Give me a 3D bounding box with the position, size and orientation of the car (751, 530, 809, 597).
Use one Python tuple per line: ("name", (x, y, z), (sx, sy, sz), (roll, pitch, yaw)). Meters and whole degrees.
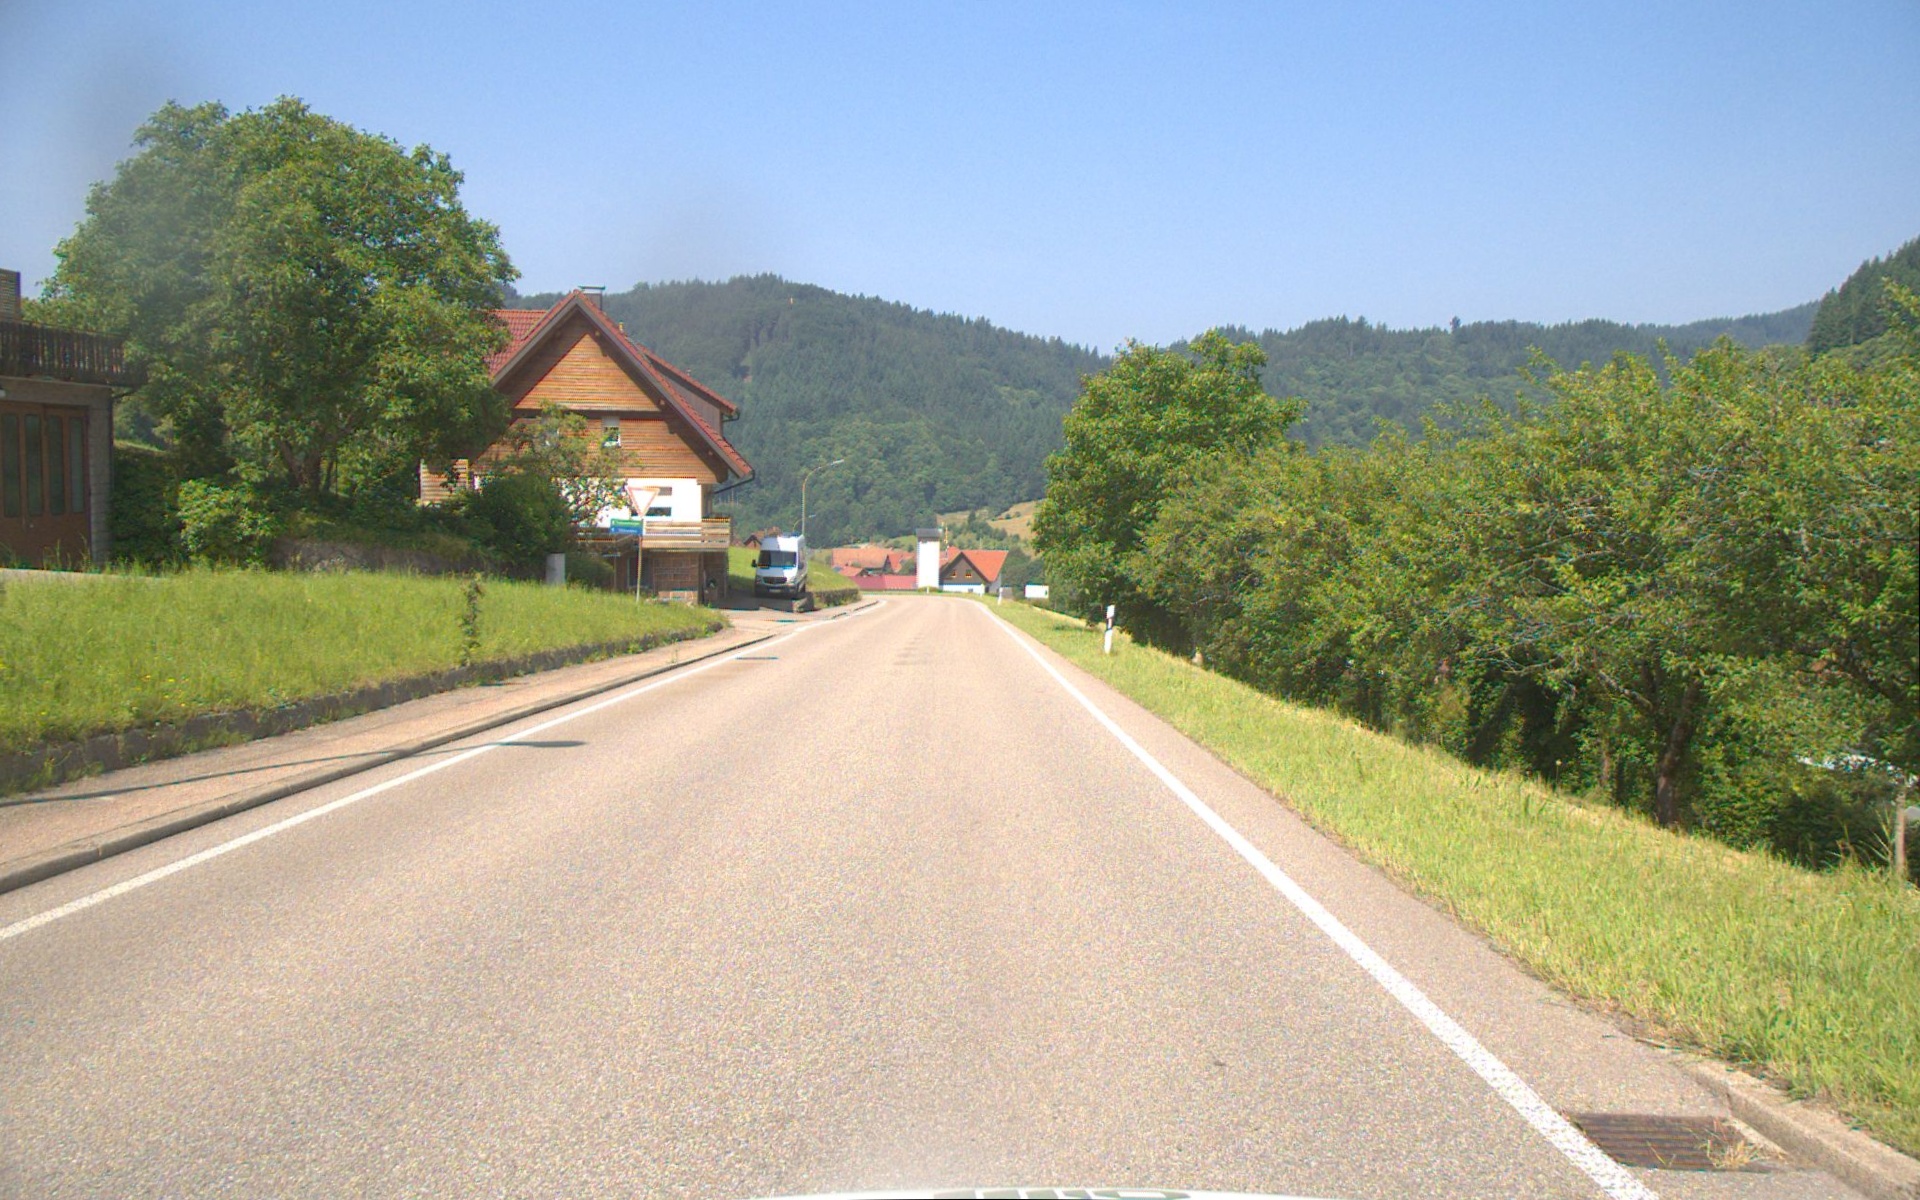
("car", (-8.204, -1.745, 75.879), (2.025, 2.734, 7.175), (1, 4, -1))
